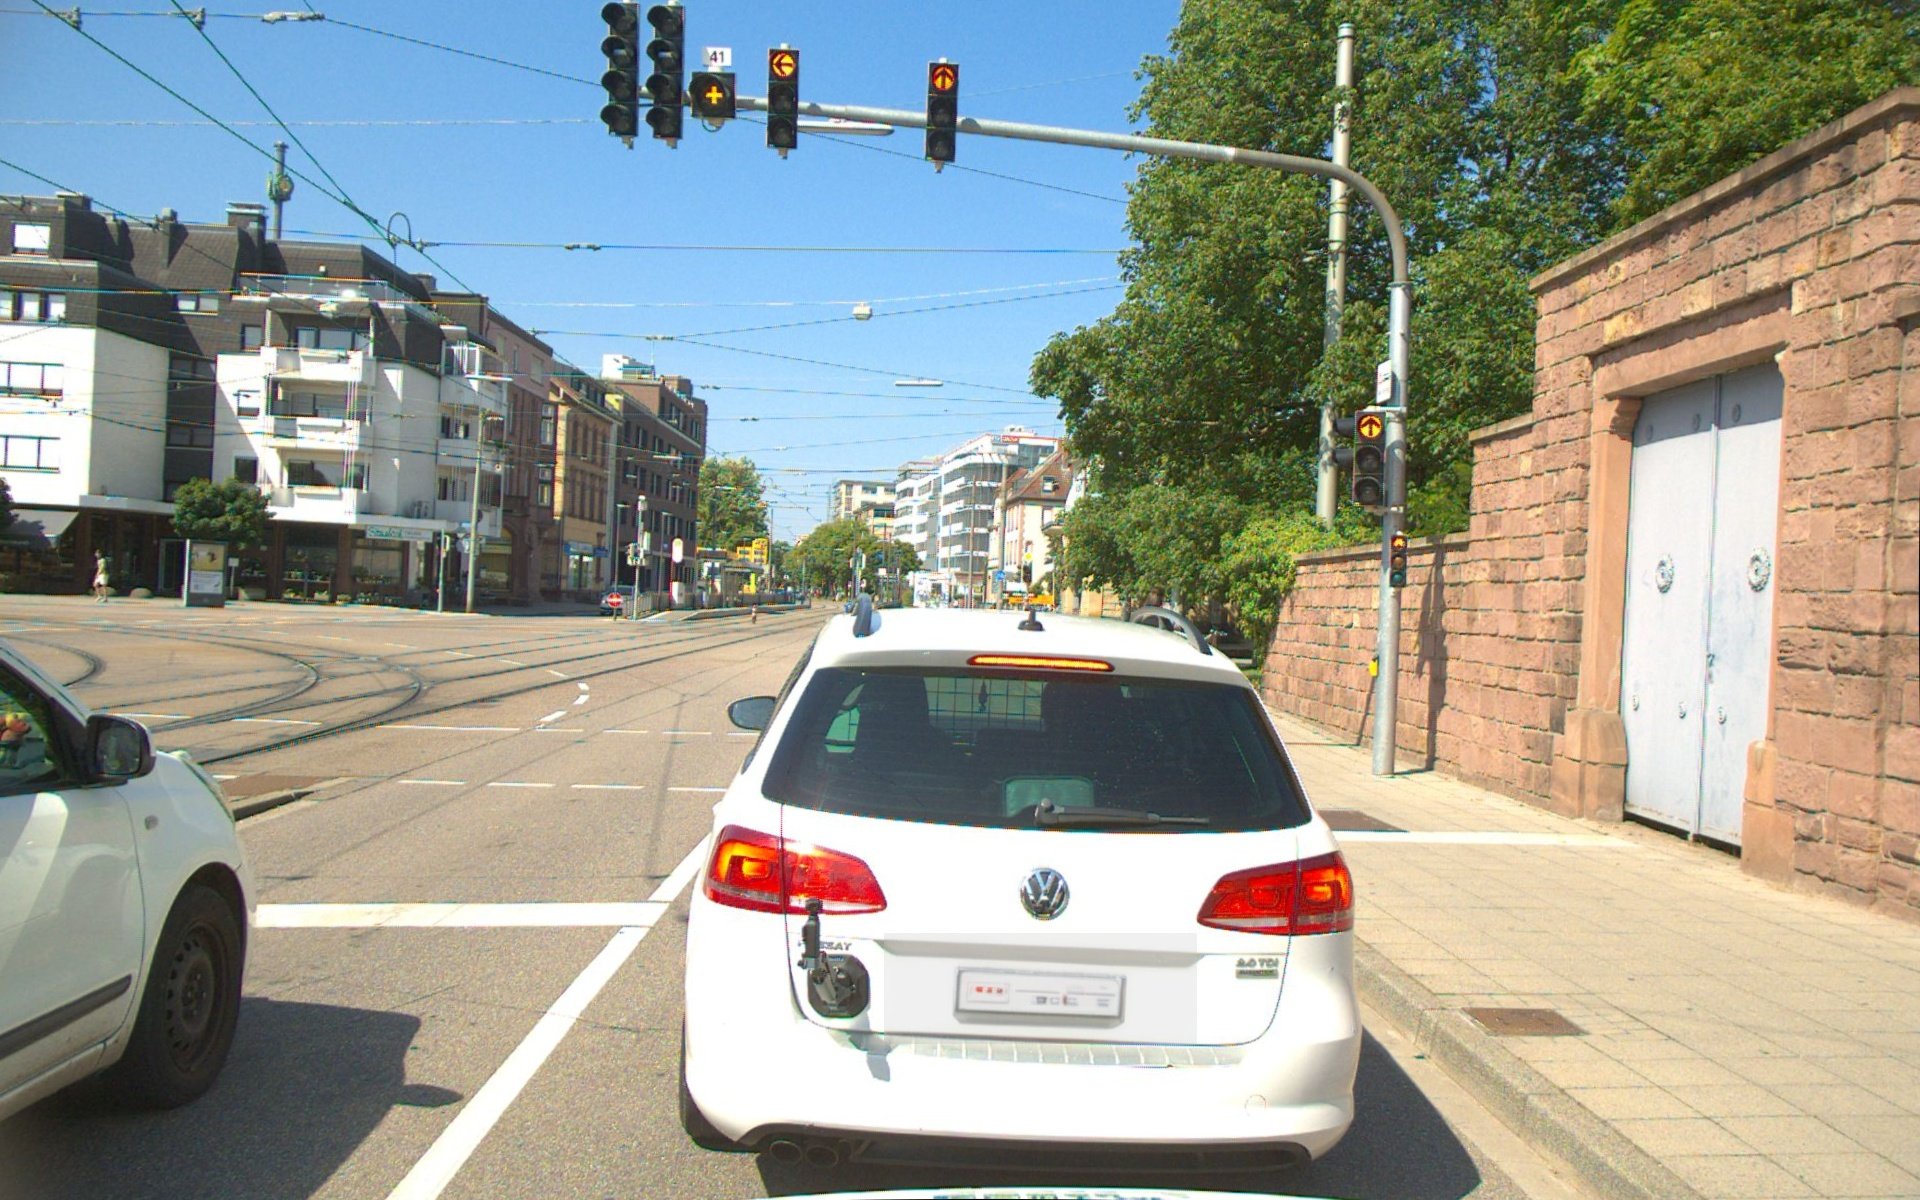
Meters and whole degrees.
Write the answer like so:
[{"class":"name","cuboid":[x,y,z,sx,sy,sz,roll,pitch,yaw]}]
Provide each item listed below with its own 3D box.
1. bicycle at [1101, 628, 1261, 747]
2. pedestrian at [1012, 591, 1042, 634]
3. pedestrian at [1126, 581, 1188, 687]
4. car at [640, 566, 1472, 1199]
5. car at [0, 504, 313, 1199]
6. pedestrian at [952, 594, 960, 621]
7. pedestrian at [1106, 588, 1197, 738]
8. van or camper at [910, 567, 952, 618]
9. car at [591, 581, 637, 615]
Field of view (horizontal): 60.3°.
[{"class":"bicycle","cuboid":[2.422,0.914,17.923,0.698,1.109,2.014,1,2,42]},{"class":"pedestrian","cuboid":[2.771,0.522,68.514,0.855,1.773,0.962,1,-1,-38]},{"class":"pedestrian","cuboid":[3.190,0.553,26.840,0.933,1.680,0.975,0,-1,3]},{"class":"car","cuboid":[0.173,0.665,5.542,1.771,1.473,3.999,1,0,-1]},{"class":"car","cuboid":[-2.855,0.584,3.400,1.608,1.593,3.803,1,1,-1]},{"class":"pedestrian","cuboid":[-0.333,0.665,148.067,0.675,2.366,1.232,0,-1,0]},{"class":"pedestrian","cuboid":[2.116,0.672,18.283,0.664,1.599,0.743,2,1,44]},{"class":"van or camper","cuboid":[-1.857,-0.446,106.700,2.514,3.147,5.703,0,-1,1]},{"class":"car","cuboid":[-17.321,-0.064,82.965,1.706,1.646,3.996,0,-1,-4]}]
